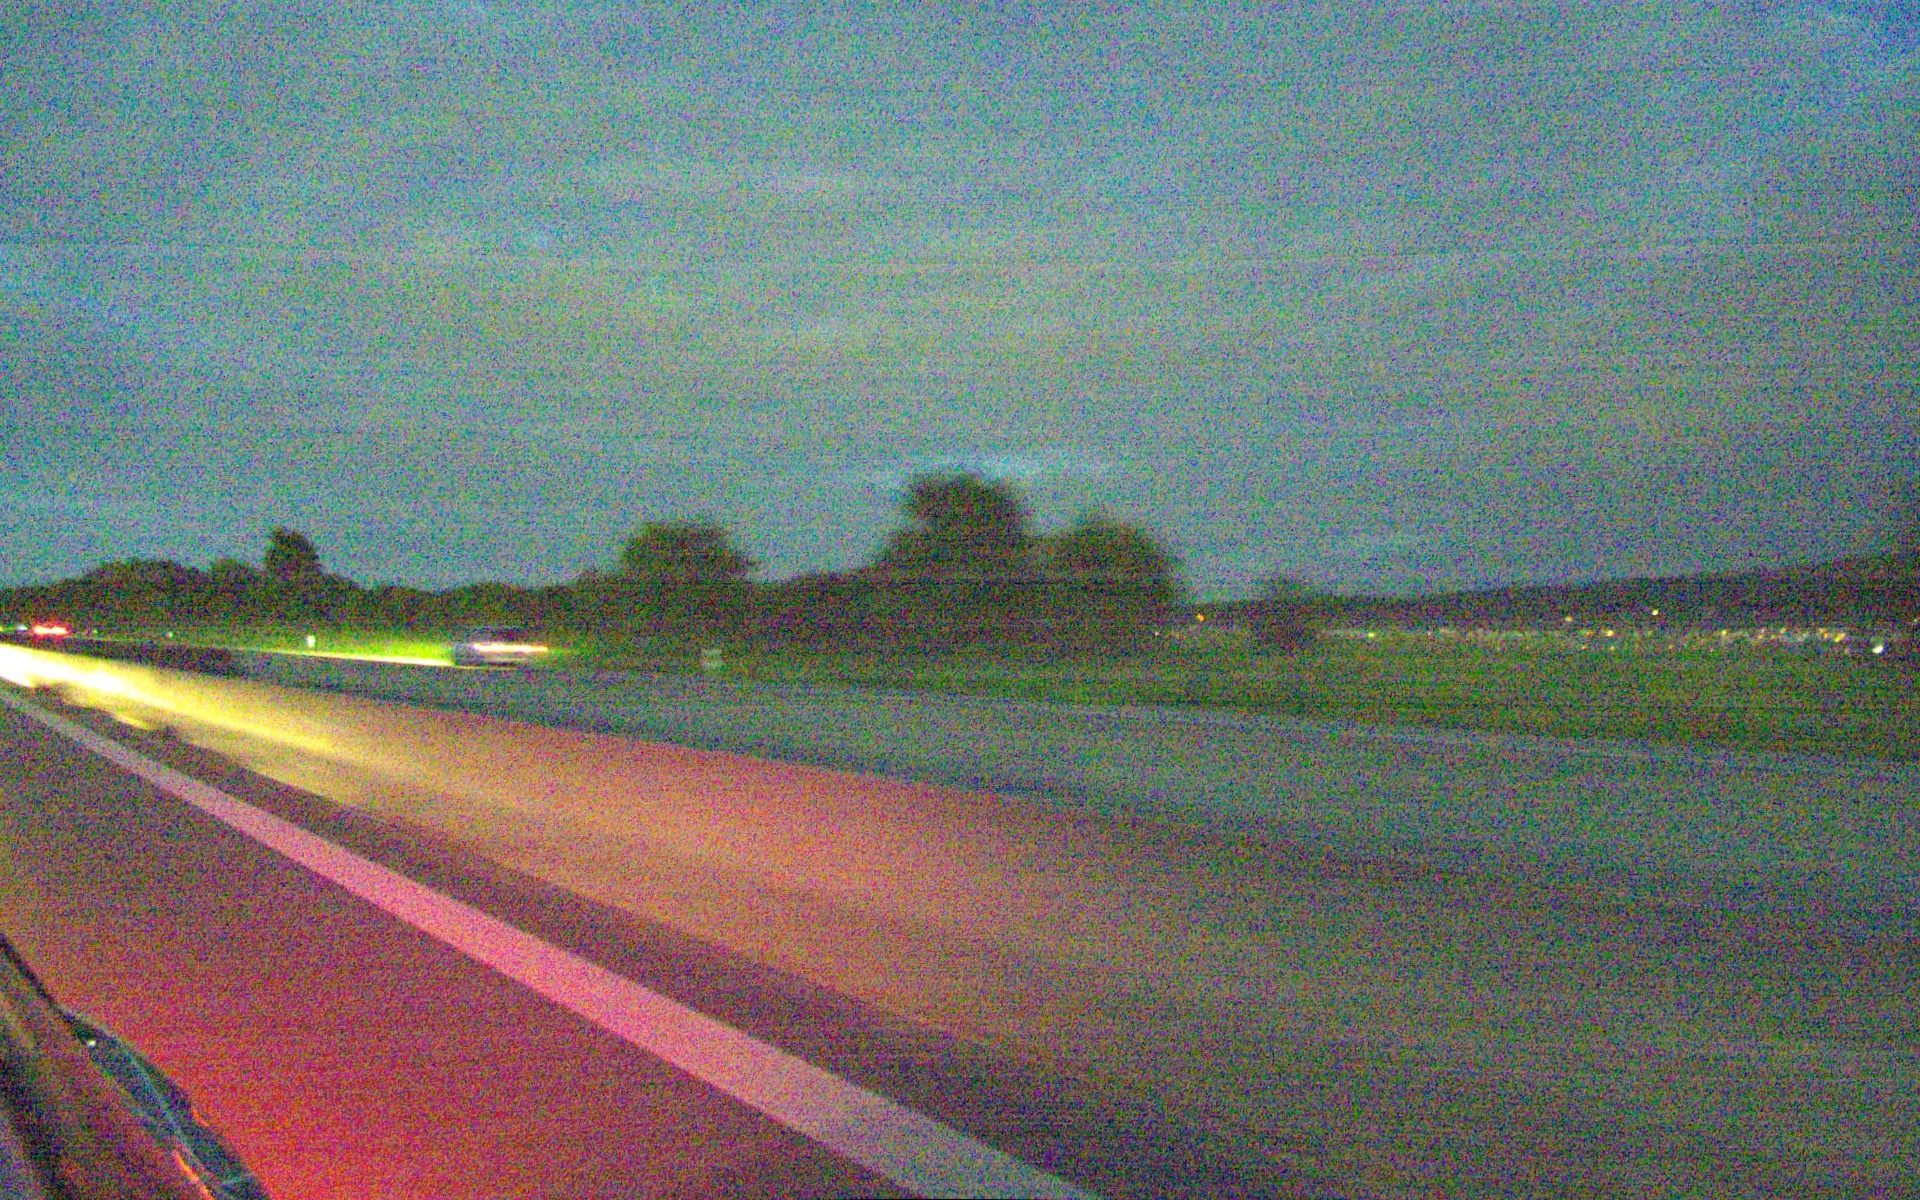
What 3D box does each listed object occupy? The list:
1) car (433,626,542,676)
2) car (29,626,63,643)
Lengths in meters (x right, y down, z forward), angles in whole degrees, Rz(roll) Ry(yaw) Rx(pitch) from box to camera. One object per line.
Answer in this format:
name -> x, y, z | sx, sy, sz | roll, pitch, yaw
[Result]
car -> -17.776, 1.889, 37.963 | 4.774, 1.733, 2.022 | -1, -4, 43
car -> -86.748, 3.263, 96.045 | 5.298, 1.655, 1.882 | -1, -3, 43
